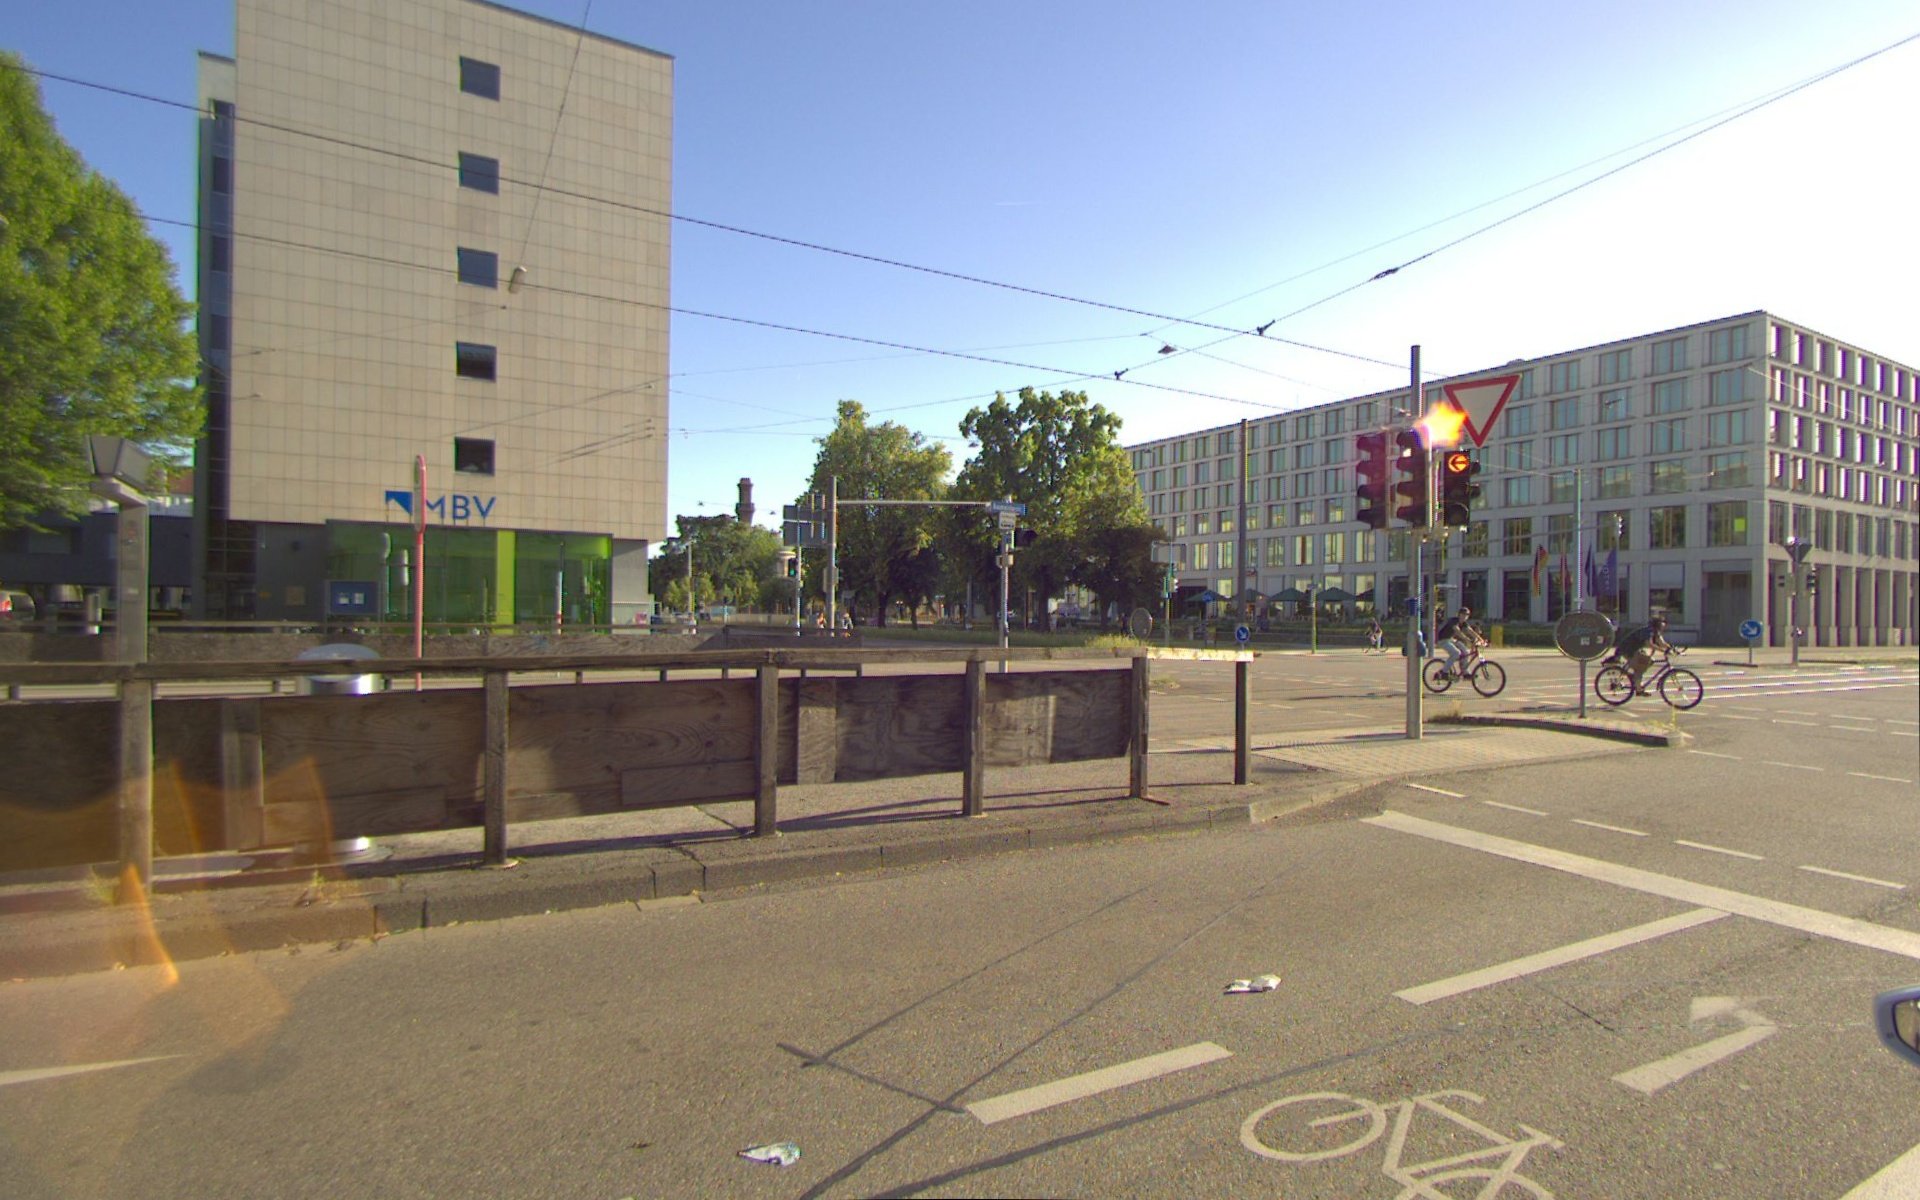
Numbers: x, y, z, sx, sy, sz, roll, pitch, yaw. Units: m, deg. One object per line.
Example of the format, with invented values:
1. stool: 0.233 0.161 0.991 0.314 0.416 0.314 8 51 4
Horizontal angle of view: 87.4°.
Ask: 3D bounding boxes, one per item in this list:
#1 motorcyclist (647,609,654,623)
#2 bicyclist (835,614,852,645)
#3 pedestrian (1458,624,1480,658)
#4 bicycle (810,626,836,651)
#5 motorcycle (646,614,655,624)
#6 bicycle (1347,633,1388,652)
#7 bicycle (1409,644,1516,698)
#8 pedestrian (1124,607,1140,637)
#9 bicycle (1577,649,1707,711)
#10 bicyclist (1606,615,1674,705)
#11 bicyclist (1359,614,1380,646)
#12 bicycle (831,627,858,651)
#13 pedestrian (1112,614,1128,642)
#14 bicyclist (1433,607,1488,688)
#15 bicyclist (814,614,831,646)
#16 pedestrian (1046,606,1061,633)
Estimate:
1. motorcyclist: -34.115 1.753 110.846 0.561 1.598 0.642 1 -1 -34
2. bicyclist: -5.755 1.459 49.613 0.602 1.544 0.709 1 -1 -32
3. pedestrian: 24.880 1.994 49.105 0.586 1.610 0.768 1 -1 -42
4. bicycle: -6.708 1.879 49.112 0.574 1.148 1.776 1 -1 -31
5. motorcycle: -34.156 2.084 110.895 0.524 1.153 1.449 1 -1 -34
6. bicycle: 20.935 2.170 51.638 1.829 0.947 0.762 1 -1 -7
7. bicycle: 9.763 1.359 19.580 0.554 0.947 1.846 1 -1 -34
8. pedestrian: 12.209 1.549 71.277 0.812 2.040 0.841 2 0 -20
9. bicycle: 11.548 1.333 17.060 0.639 0.947 1.732 1 -1 -34
10. bicyclist: 11.554 1.003 17.074 0.611 1.470 0.793 1 -1 -33
11. bicyclist: 21.056 1.545 51.645 0.763 1.610 0.761 0 0 -6
12. bicycle: -5.697 1.913 49.510 0.616 1.148 1.869 1 -1 -31
13. pedestrian: 11.315 1.975 70.926 0.861 1.925 0.714 2 0 -20
14. bicyclist: 9.760 0.907 19.603 0.600 1.544 0.758 1 -1 -34
15. bicyclist: -6.743 1.484 49.182 0.647 1.544 0.615 1 -1 -32
16. pedestrian: 7.326 1.497 78.422 0.814 2.040 0.839 2 0 -28
